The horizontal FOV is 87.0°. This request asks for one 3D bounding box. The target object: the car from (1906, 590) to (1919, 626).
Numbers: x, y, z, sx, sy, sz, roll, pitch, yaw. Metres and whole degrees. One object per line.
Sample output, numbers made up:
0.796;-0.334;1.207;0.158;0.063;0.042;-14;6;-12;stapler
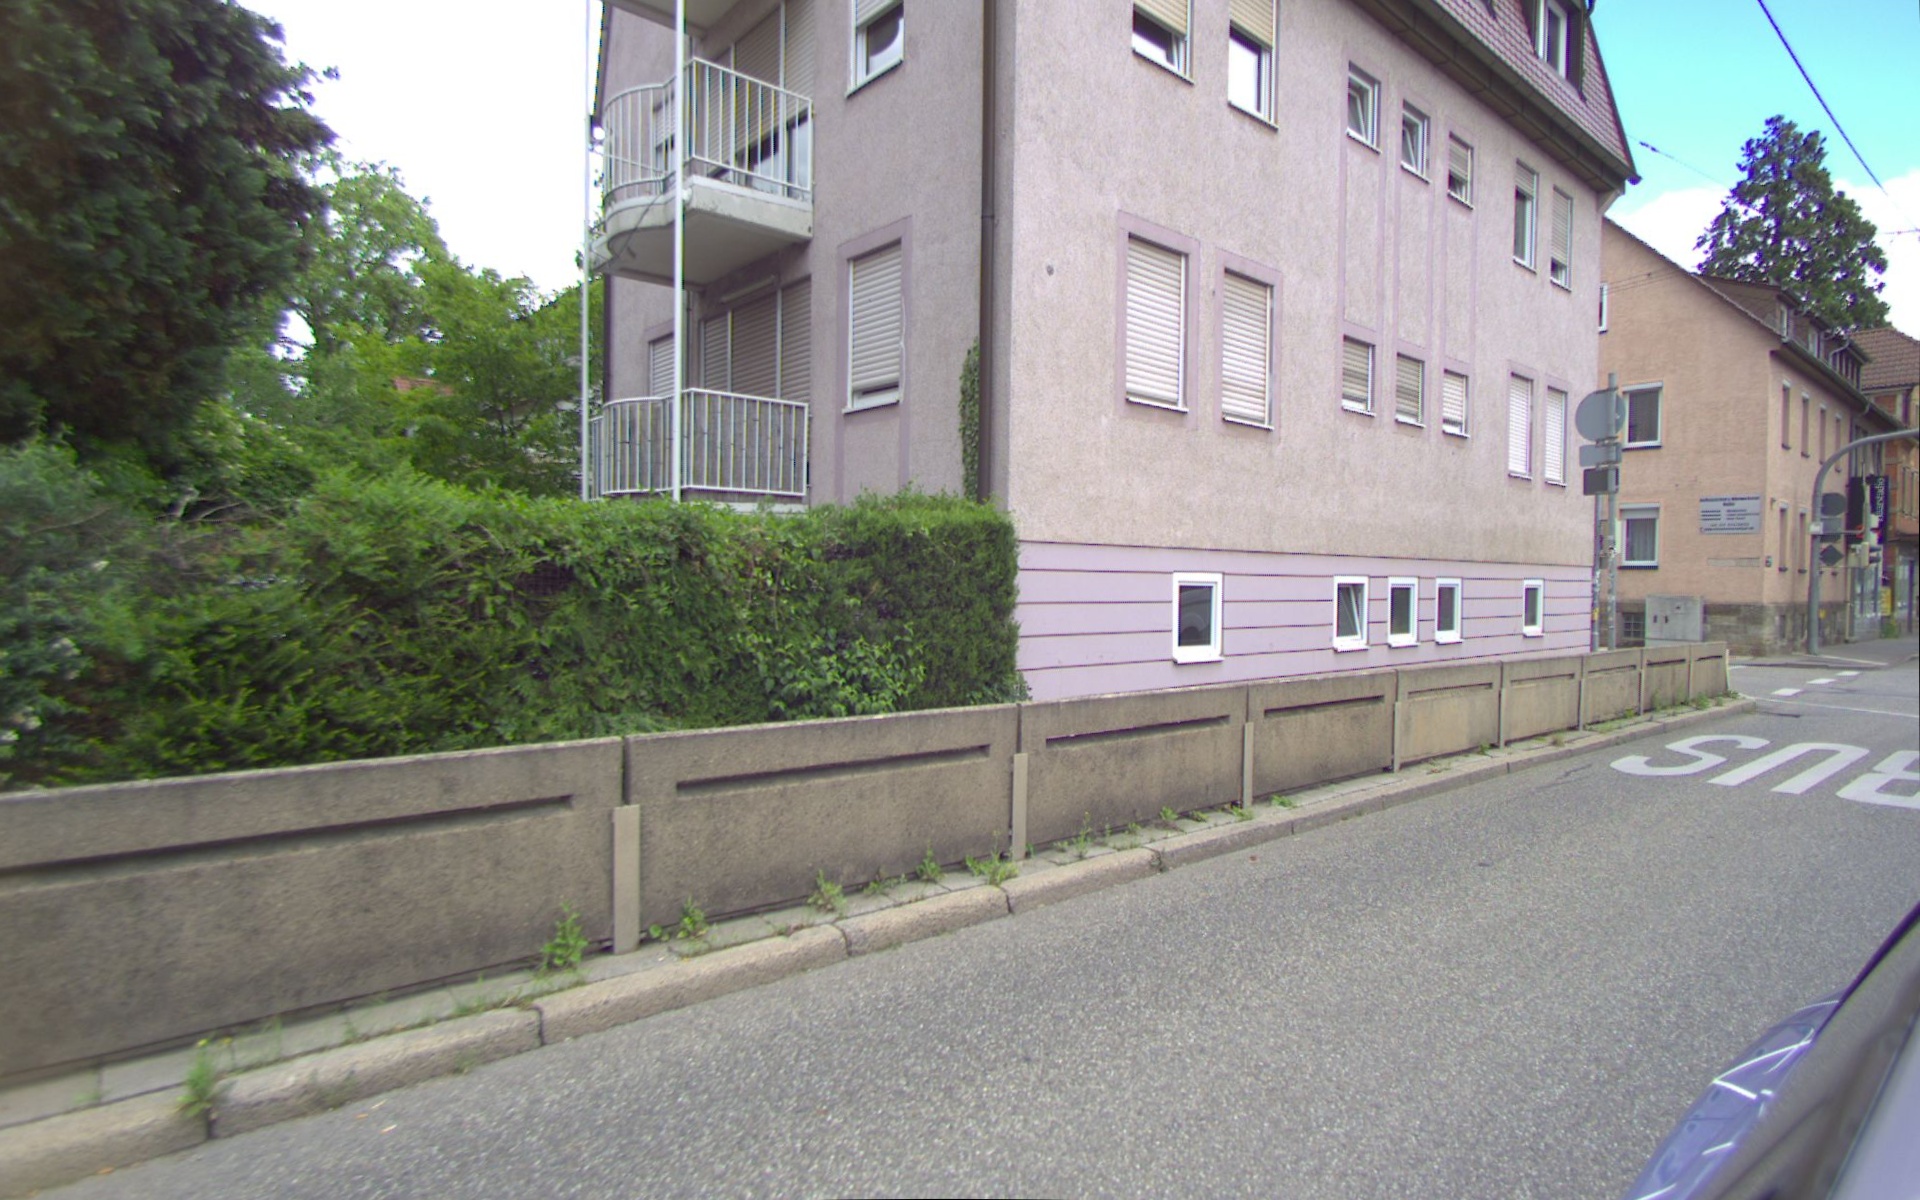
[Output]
46.809;0.360;47.090;1.809;1.705;3.990;-1;0;-43;car
